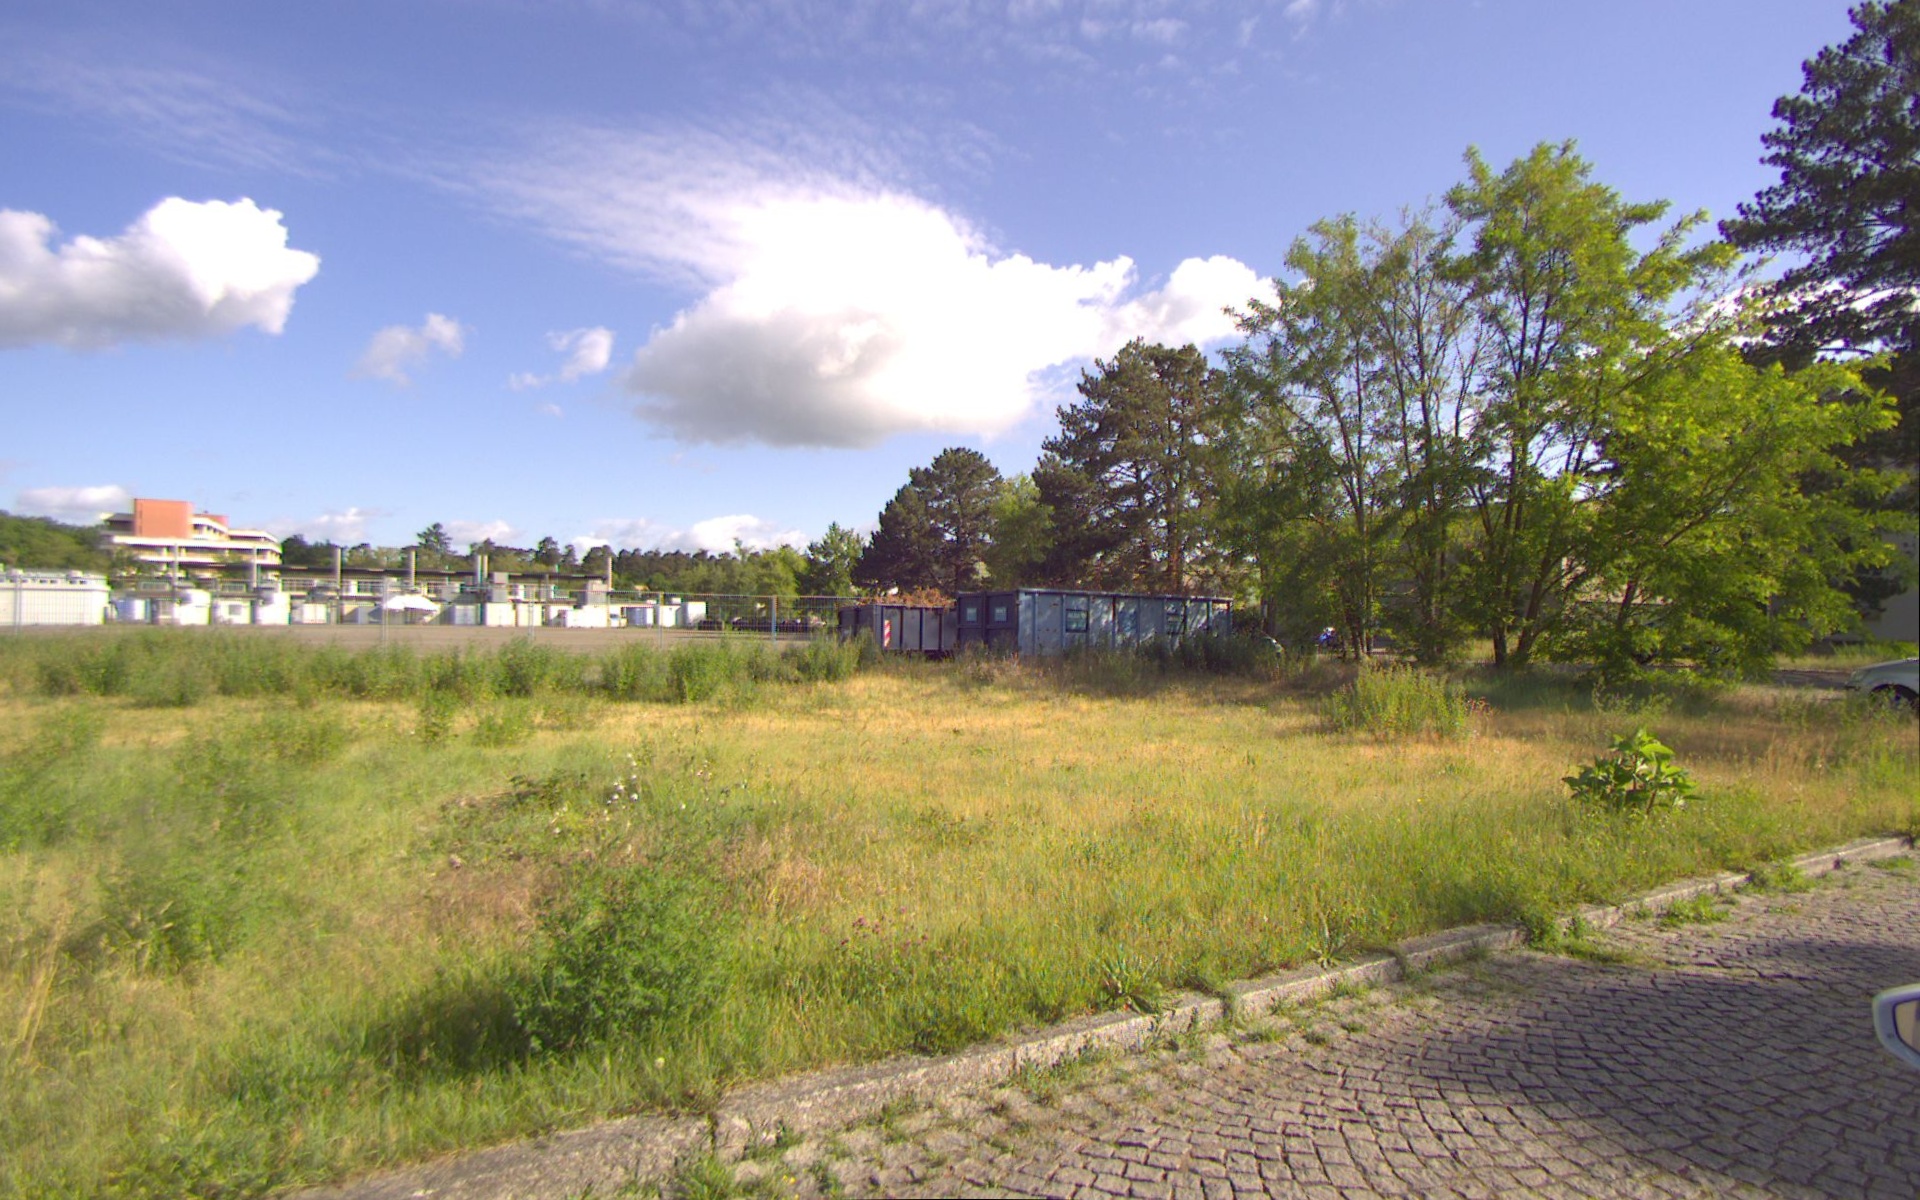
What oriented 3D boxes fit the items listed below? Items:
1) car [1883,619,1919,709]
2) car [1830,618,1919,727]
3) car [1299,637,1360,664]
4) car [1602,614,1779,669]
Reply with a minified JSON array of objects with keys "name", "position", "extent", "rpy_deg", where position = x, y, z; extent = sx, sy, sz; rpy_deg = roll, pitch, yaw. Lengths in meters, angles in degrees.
[{"name":"car","position":[17.511,1.170,15.891],"extent":[1.671,1.464,3.918],"rpy_deg":[1,2,-30]},{"name":"car","position":[15.252,1.139,14.538],"extent":[1.680,1.548,3.665],"rpy_deg":[1,1,-31]},{"name":"car","position":[25.756,3.484,70.043],"extent":[3.951,1.802,1.858],"rpy_deg":[1,-1,-27]},{"name":"car","position":[23.021,1.268,31.830],"extent":[1.985,1.630,4.127],"rpy_deg":[1,-1,-28]}]
